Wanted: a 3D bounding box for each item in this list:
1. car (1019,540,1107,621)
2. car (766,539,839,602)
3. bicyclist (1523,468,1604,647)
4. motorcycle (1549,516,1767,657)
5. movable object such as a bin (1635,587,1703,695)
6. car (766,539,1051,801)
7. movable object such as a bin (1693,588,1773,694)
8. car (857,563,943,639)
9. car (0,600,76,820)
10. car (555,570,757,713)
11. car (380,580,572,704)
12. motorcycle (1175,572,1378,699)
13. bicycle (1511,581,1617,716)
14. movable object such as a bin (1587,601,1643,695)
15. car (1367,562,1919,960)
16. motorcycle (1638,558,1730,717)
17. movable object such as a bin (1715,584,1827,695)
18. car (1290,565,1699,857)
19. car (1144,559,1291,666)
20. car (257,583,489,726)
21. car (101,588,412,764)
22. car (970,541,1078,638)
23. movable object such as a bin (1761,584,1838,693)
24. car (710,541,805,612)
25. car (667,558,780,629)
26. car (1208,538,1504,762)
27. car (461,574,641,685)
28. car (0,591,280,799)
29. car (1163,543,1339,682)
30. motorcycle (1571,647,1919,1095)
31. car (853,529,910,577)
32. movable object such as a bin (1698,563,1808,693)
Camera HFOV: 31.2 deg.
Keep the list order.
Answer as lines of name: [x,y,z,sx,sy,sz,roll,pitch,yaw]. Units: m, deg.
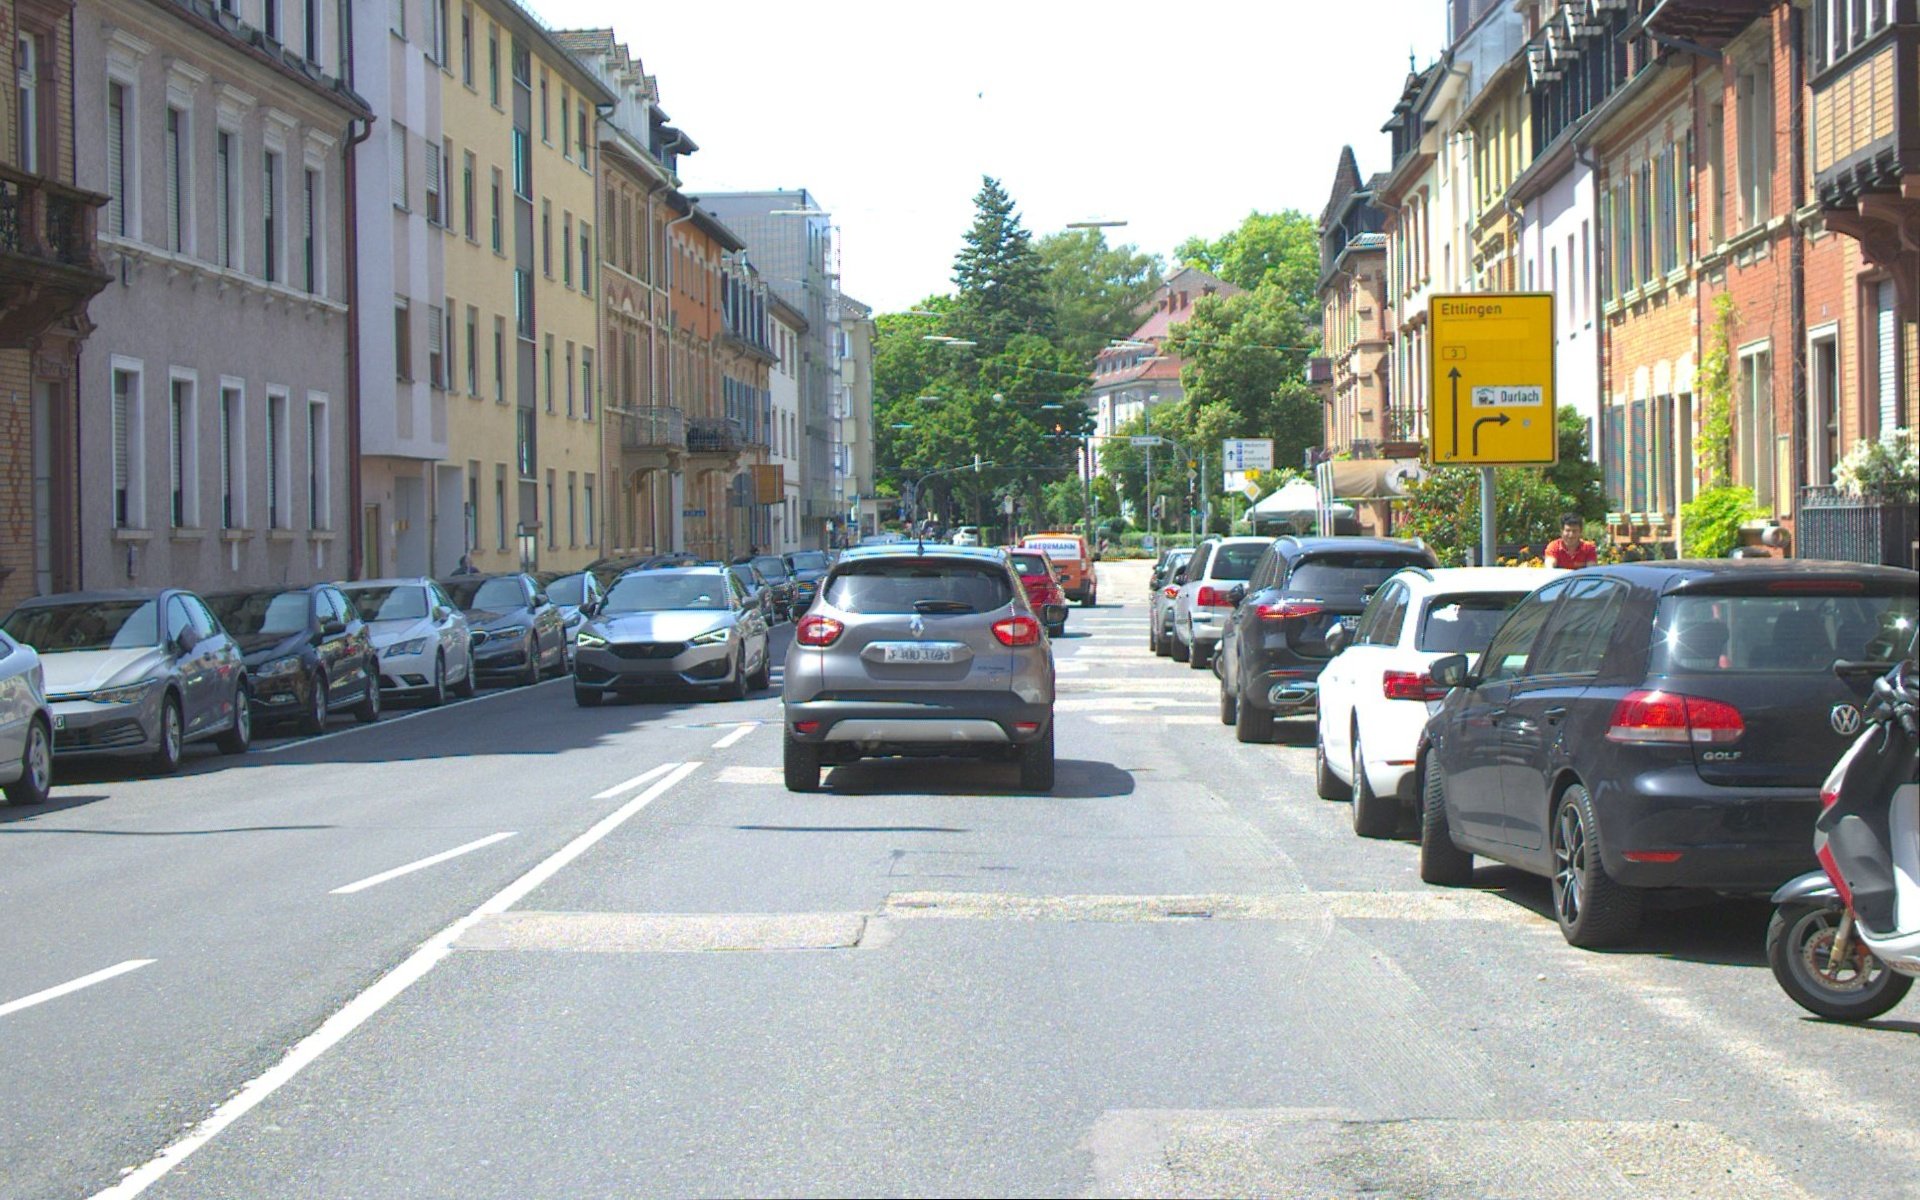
car: [2.743,-0.532,90.647,1.994,2.007,4.465,-2,1,5]
car: [-4.363,-0.836,95.898,1.904,1.614,4.303,-3,1,-2]
bicyclist: [5.061,-0.360,28.866,0.532,1.464,0.791,-2,1,2]
motorcycle: [7.567,-0.148,37.351,2.129,1.403,0.937,-3,1,1]
movable object such as a bin: [7.239,0.411,35.109,0.557,1.072,0.727,-1,1,3]
car: [-0.269,0.410,23.369,1.744,1.611,4.000,1,1,2]
movable object such as a bin: [7.879,0.416,35.056,0.659,1.051,0.748,-1,1,3]
car: [-1.508,-0.005,88.526,1.993,1.786,5.148,-2,1,1]
car: [-7.235,0.784,22.089,1.840,1.417,4.502,-3,1,1]
car: [-3.280,0.411,37.813,1.790,1.415,4.315,-1,1,0]
car: [-6.272,0.506,44.997,1.839,1.417,4.646,-3,1,-1]
motorcycle: [3.546,0.387,38.601,1.994,1.381,1.110,0,1,40]
bicycle: [5.066,0.392,28.918,0.593,1.062,1.882,-2,1,2]
movable object such as a bin: [6.686,0.489,35.113,0.481,0.938,0.526,-1,1,3]
car: [2.986,0.549,14.544,1.648,1.409,4.502,0,1,-5]
motorcycle: [5.889,0.287,28.007,0.440,1.233,1.358,-2,1,1]
movable object such as a bin: [6.817,0.329,28.920,0.788,0.904,0.539,-2,1,-1]
car: [2.921,0.538,19.675,1.716,1.409,4.589,-2,1,2]
car: [3.816,0.152,51.610,1.860,1.482,4.310,1,1,0]
car: [-6.594,0.573,39.070,1.839,1.417,4.502,-3,1,-1]
car: [-6.790,0.687,33.684,1.840,1.417,4.502,-5,1,3]
car: [1.133,-0.218,62.422,1.812,1.615,4.441,-2,1,0]
movable object such as a bin: [8.552,0.388,35.035,0.609,1.073,0.761,-1,1,3]
car: [-4.924,-0.592,84.189,1.905,1.614,4.302,-3,1,1]
car: [-5.106,-0.166,74.799,1.905,1.396,4.755,-3,1,2]
car: [3.183,0.348,28.530,1.993,1.656,4.625,-2,1,1]
car: [-5.982,0.398,50.772,1.840,1.417,4.557,-4,0,3]
car: [-6.939,0.730,27.951,1.840,1.417,4.502,-5,1,0]
car: [3.868,0.127,46.393,1.860,1.742,4.618,1,1,-1]
motorcycle: [2.982,0.784,10.228,1.994,1.221,1.110,1,1,40]
car: [-3.084,-1.853,135.908,1.905,1.815,4.302,-1,1,3]
movable object such as a bin: [6.806,0.238,29.541,0.788,1.085,0.539,-2,1,-1]
